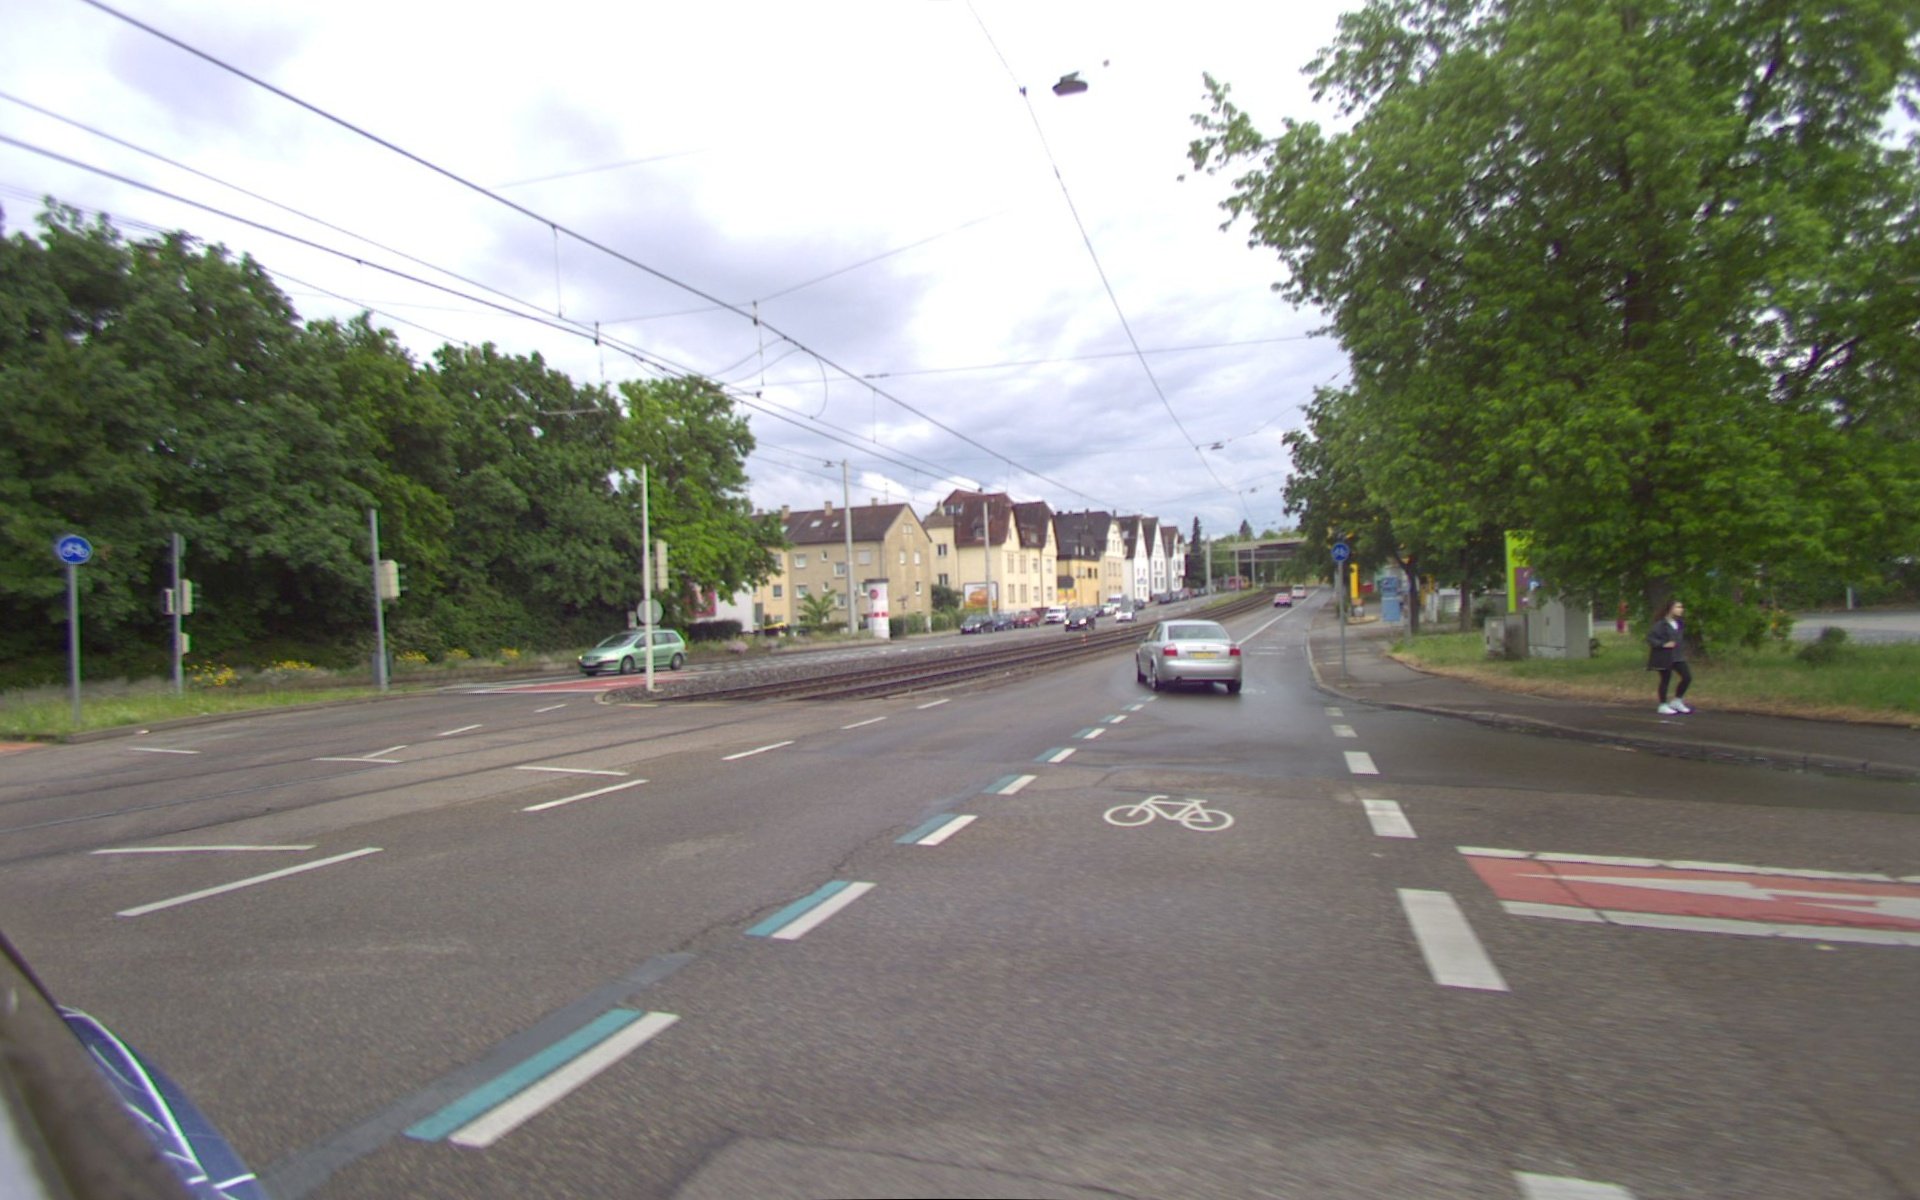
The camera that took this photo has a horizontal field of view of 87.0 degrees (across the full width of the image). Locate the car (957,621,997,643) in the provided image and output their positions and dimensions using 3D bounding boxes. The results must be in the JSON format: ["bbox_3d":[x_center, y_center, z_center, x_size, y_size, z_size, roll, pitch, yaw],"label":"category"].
[{"bbox_3d":[1.390,2.608,82.430,1.829,1.545,4.409,-4,-2,20],"label":"car"}]

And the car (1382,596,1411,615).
[{"bbox_3d":[36.890,0.427,85.540,1.761,1.426,4.052,-4,-1,18],"label":"car"}]

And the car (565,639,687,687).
[{"bbox_3d":[-11.688,2.179,35.696,1.875,1.460,4.172,-3,-2,20],"label":"car"}]

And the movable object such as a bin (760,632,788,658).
[{"bbox_3d":[-11.212,2.692,60.886,1.178,1.428,1.128,-4,0,19],"label":"movable object such as a bin"}]

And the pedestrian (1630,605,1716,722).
[{"bbox_3d":[9.869,0.863,14.029,0.583,1.543,0.670,-4,0,-9],"label":"pedestrian"}]

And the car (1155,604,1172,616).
[{"bbox_3d":[31.792,1.597,157.999,1.717,1.559,4.168,-4,0,23],"label":"car"}]

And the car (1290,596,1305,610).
[{"bbox_3d":[51.531,0.434,154.319,1.985,2.029,5.026,0,0,20],"label":"car"}]

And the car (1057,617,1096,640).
[{"bbox_3d":[8.677,2.089,75.138,1.875,1.435,4.173,-4,0,20],"label":"car"}]

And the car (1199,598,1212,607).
[{"bbox_3d":[46.783,0.428,193.000,1.717,1.559,4.168,-4,0,23],"label":"car"}]

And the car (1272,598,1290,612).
[{"bbox_3d":[39.416,0.603,124.169,1.985,1.662,4.728,-1,-1,19],"label":"car"}]

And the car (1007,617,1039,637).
[{"bbox_3d":[5.979,2.543,95.227,1.829,1.640,4.071,-4,-1,21],"label":"car"}]

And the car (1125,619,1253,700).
[{"bbox_3d":[4.685,1.214,21.291,1.569,1.448,4.427,3,-3,-1],"label":"car"}]

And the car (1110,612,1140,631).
[{"bbox_3d":[15.033,1.953,92.055,1.875,1.435,4.173,-4,0,20],"label":"car"}]

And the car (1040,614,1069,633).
[{"bbox_3d":[9.779,2.403,104.183,1.839,1.770,4.493,-4,-1,19],"label":"car"}]

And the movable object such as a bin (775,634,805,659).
[{"bbox_3d":[-10.490,2.861,62.356,1.305,1.428,1.292,-4,0,19],"label":"movable object such as a bin"}]

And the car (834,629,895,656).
[{"bbox_3d":[-7.425,3.307,78.929,4.263,1.667,1.864,-6,-1,25],"label":"car"}]

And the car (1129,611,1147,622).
[{"bbox_3d":[24.864,2.290,141.504,1.715,1.355,4.173,-4,0,20],"label":"car"}]

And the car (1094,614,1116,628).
[{"bbox_3d":[17.778,2.518,123.828,1.595,1.475,4.170,-4,-1,22],"label":"car"}]

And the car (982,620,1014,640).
[{"bbox_3d":[3.363,2.587,88.013,1.660,1.454,3.904,-4,-1,19],"label":"car"}]
